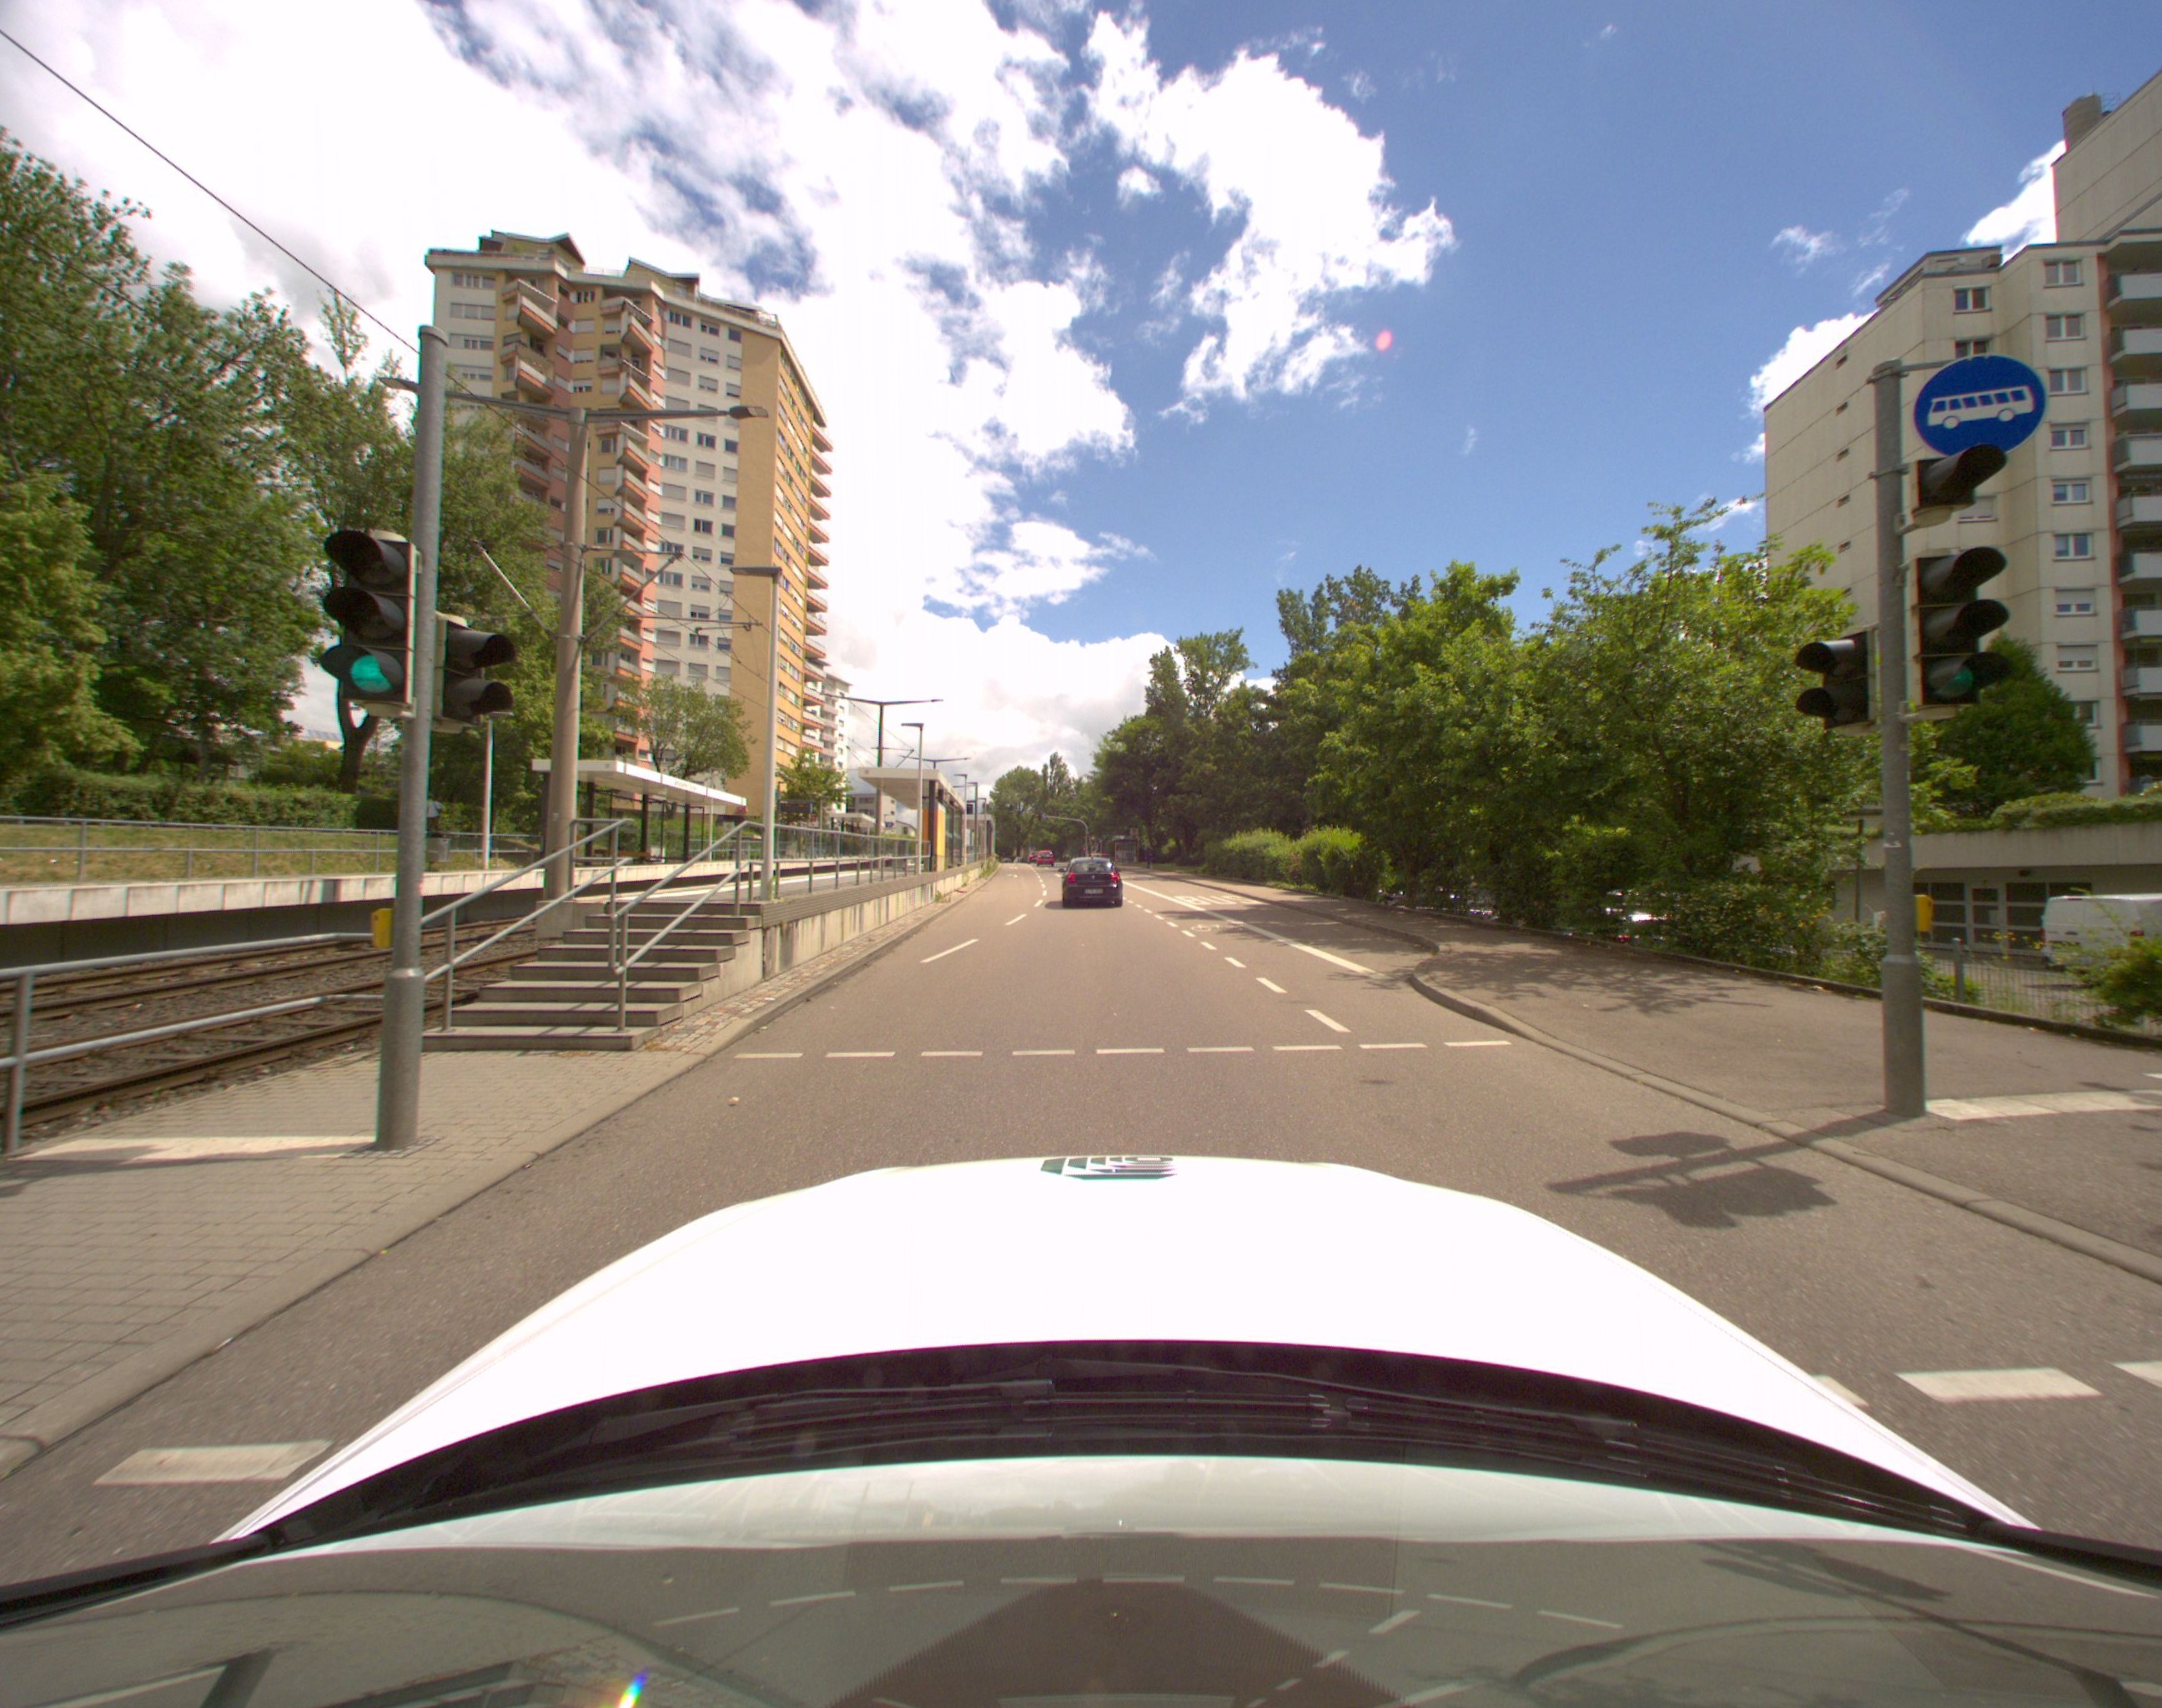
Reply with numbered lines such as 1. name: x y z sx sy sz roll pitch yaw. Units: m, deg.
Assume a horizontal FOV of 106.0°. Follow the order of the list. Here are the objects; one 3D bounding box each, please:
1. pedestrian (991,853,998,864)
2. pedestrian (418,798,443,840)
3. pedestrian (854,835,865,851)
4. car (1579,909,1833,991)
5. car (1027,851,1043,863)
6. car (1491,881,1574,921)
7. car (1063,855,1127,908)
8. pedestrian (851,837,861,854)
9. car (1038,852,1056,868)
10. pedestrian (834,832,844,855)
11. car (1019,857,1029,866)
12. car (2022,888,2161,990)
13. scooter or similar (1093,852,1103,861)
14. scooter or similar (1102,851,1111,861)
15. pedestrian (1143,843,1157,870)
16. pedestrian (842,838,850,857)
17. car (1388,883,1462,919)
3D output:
1. pedestrian: -10.812 0.558 101.652 0.864 1.442 0.796 0 0 -8
2. pedestrian: -27.144 -1.455 33.986 0.649 1.712 0.503 -1 0 -5
3. pedestrian: -17.352 -0.869 63.850 0.741 1.236 0.517 -1 0 -5
4. car: 11.924 1.814 15.688 3.742 1.432 1.563 0 -2 -2
5. car: -5.316 0.343 94.007 1.653 1.419 3.509 0 0 -7
6. car: 21.313 2.183 38.605 1.817 1.618 4.001 1 0 2
7. car: 0.344 0.751 24.063 1.651 1.419 3.513 0 0 -3
8. pedestrian: -17.426 -0.657 63.067 0.642 1.369 0.506 0 0 -5
9. car: -3.270 0.559 78.404 1.592 1.419 3.511 0 0 -4
10. pedestrian: -17.468 -0.722 58.690 0.524 1.644 0.558 0 0 -37
11. car: -10.299 1.341 146.824 1.649 1.419 3.515 0 0 -1
12. car: 22.242 1.656 16.541 3.970 1.892 1.792 -2 -2 3
13. scooter or similar: 2.282 0.300 107.211 1.292 1.189 0.382 0 0 -21
14. scooter or similar: 3.349 0.278 108.101 1.109 1.258 0.330 0 0 -17
15. pedestrian: 4.973 0.180 59.065 0.800 1.895 1.268 1 0 -4
16. pedestrian: -17.138 -0.452 59.318 0.542 1.380 0.519 0 -3 -14
17. car: 16.586 2.252 39.491 1.864 1.469 3.999 0 0 -1
